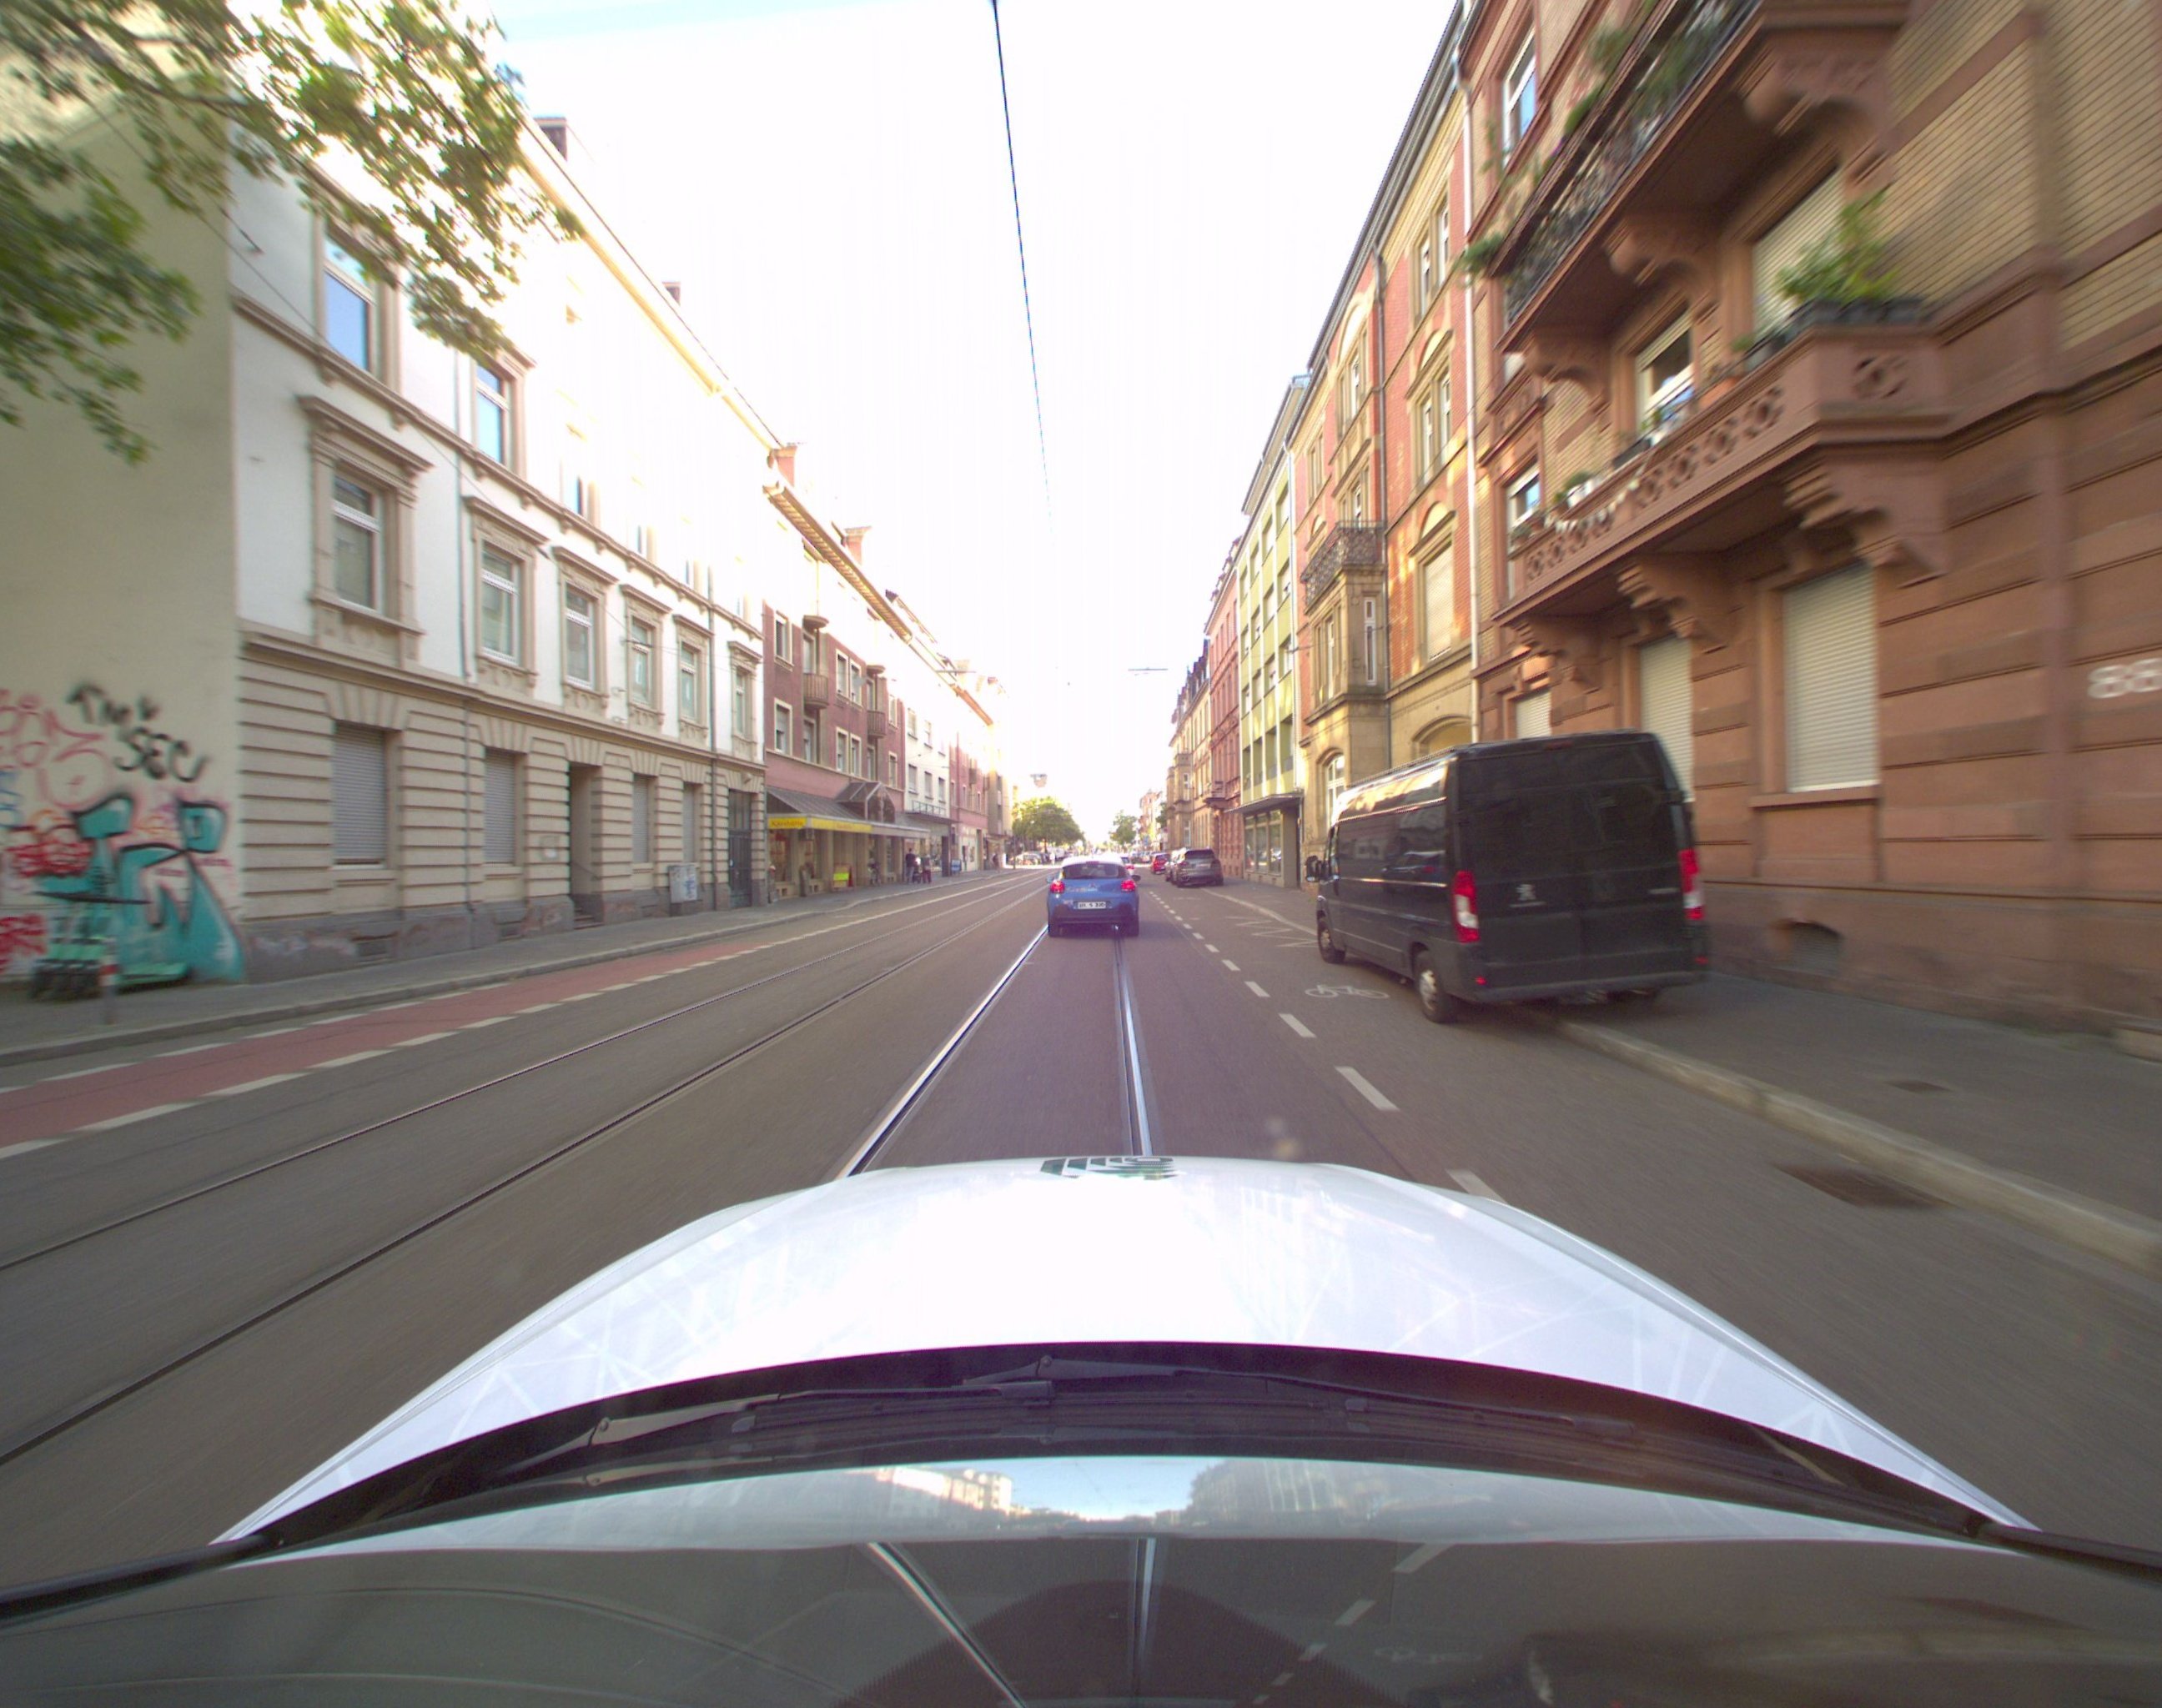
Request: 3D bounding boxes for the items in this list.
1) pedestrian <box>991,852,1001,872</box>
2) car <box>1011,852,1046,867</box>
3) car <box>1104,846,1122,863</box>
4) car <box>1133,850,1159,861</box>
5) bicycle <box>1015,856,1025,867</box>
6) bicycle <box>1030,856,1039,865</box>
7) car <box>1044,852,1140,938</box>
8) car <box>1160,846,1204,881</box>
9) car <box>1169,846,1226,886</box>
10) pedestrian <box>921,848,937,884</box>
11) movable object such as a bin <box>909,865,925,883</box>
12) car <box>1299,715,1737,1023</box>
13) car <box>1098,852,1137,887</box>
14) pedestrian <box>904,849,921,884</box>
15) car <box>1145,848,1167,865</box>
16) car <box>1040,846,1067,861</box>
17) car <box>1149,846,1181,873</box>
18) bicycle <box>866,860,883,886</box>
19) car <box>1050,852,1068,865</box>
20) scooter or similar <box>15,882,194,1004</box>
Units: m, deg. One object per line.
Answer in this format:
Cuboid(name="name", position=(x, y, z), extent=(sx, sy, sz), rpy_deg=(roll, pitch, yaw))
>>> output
Cuboid(name="pedestrian", position=(-6.956, 0.623, 66.874), extent=(0.683, 1.638, 0.675), rpy_deg=(-1, 0, 0))
Cuboid(name="car", position=(-6.982, 0.721, 108.305), extent=(4.290, 2.017, 2.211), rpy_deg=(-1, 0, 3))
Cuboid(name="car", position=(3.856, 0.087, 98.332), extent=(1.987, 2.013, 4.000), rpy_deg=(-1, 0, 1))
Cuboid(name="car", position=(10.071, 0.223, 126.202), extent=(3.825, 1.618, 1.791), rpy_deg=(-1, 0, -1))
Cuboid(name="bicycle", position=(-7.552, 0.884, 101.221), extent=(1.118, 1.319, 3.639), rpy_deg=(-1, 0, -4))
Cuboid(name="bicycle", position=(-5.839, 0.778, 101.446), extent=(1.118, 1.146, 3.639), rpy_deg=(-1, 0, -4))
Cuboid(name="car", position=(0.243, 0.721, 16.437), extent=(1.668, 1.477, 4.001), rpy_deg=(-1, 0, 1))
Cuboid(name="car", position=(5.431, 0.473, 44.211), extent=(1.899, 1.757, 4.000), rpy_deg=(-1, 0, 1))
Cuboid(name="car", position=(5.175, 0.499, 36.692), extent=(1.998, 1.672, 4.807), rpy_deg=(-1, 0, 2))
Cuboid(name="pedestrian", position=(-7.699, 0.605, 41.364), extent=(0.709, 1.764, 0.653), rpy_deg=(-1, 0, -7))
Cuboid(name="movable object such as a bin", position=(-8.434, 1.027, 41.924), extent=(0.608, 0.914, 0.695), rpy_deg=(-1, 0, 1))
Cuboid(name="car", position=(4.307, 0.115, 9.482), extent=(2.262, 2.436, 5.725), rpy_deg=(-2, 0, 3))
Cuboid(name="car", position=(1.626, 0.669, 37.379), extent=(1.661, 1.478, 4.000), rpy_deg=(-1, 0, 1))
Cuboid(name="pedestrian", position=(-8.525, 0.613, 41.236), extent=(0.708, 1.764, 0.570), rpy_deg=(-1, 0, 0))
Cuboid(name="car", position=(7.863, 0.273, 85.208), extent=(1.998, 1.672, 4.392), rpy_deg=(-1, 0, 1))
Cuboid(name="car", position=(-5.061, -0.052, 150.170), extent=(4.328, 2.581, 2.192), rpy_deg=(-1, 0, -24))
Cuboid(name="car", position=(6.203, 0.356, 60.795), extent=(1.998, 1.672, 4.394), rpy_deg=(-2, 3, 2))
Cuboid(name="bicycle", position=(-9.632, 0.860, 38.054), extent=(0.621, 1.159, 2.057), rpy_deg=(-1, 0, -11))
Cuboid(name="car", position=(-2.722, 0.542, 100.980), extent=(1.987, 1.651, 4.000), rpy_deg=(-1, 0, 1))
Cuboid(name="scooter or similar", position=(-11.405, 1.003, 9.559), extent=(0.785, 1.271, 1.075), rpy_deg=(1, 1, 0))
